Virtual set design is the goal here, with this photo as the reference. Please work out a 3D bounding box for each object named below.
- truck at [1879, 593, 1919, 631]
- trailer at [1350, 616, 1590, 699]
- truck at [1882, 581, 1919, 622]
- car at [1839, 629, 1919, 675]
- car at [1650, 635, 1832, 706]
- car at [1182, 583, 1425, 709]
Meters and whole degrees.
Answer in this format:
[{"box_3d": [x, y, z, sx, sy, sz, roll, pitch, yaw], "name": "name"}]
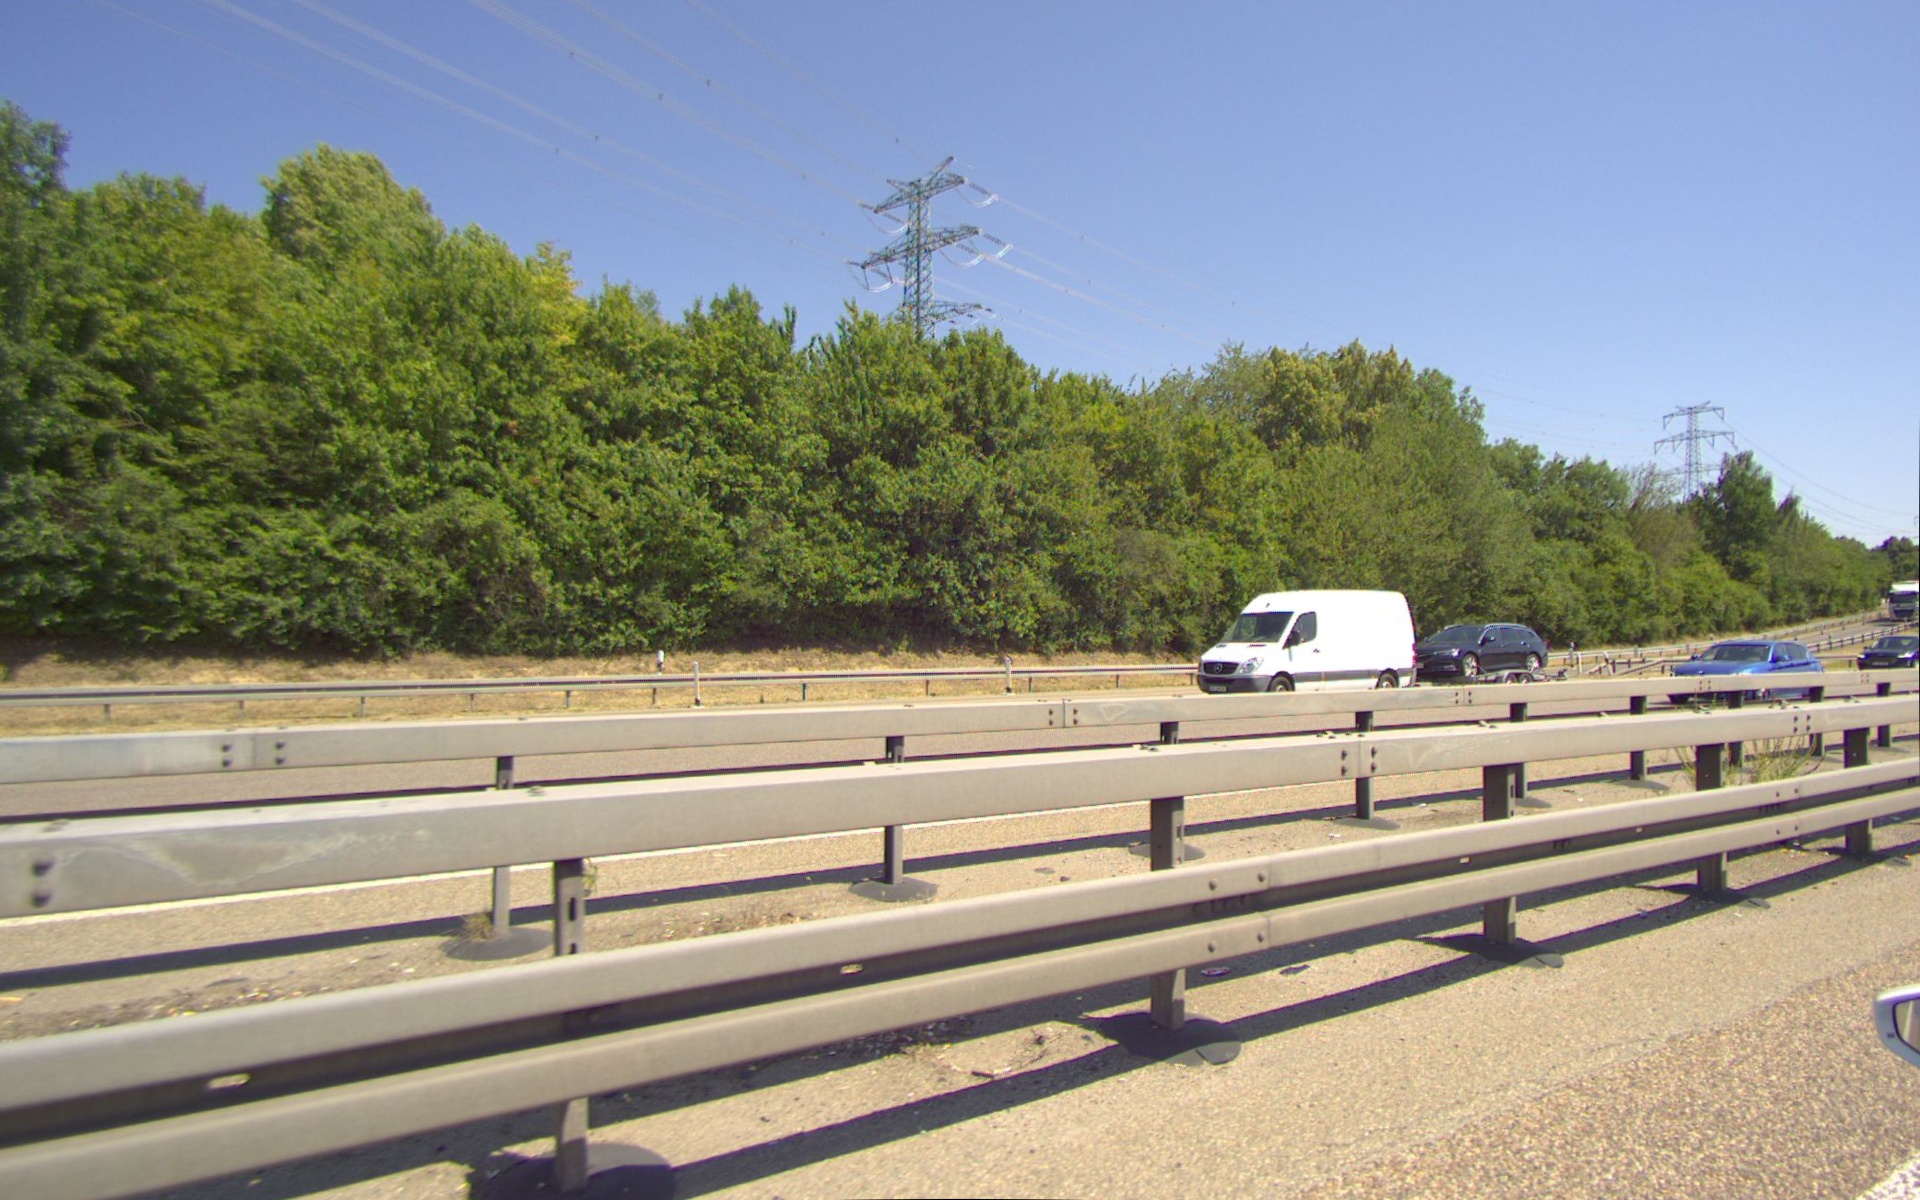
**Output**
[{"box_3d": [101.727, 1.269, 108.548, 4.287, 3.948, 2.920, -1, 0, -39], "name": "truck"}, {"box_3d": [13.687, 1.517, 26.837, 6.651, 1.971, 2.749, 2, -3, -33], "name": "trailer"}, {"box_3d": [107.319, 0.057, 113.155, 14.420, 4.399, 2.972, -1, 0, -39], "name": "truck"}, {"box_3d": [39.154, 2.185, 42.239, 4.465, 1.823, 2.145, 2, -3, -33], "name": "car"}, {"box_3d": [17.875, 1.556, 22.954, 4.303, 1.493, 1.774, 2, -2, -30], "name": "car"}, {"box_3d": [8.154, 1.076, 23.631, 5.935, 2.674, 2.099, 2, -2, -31], "name": "car"}]
